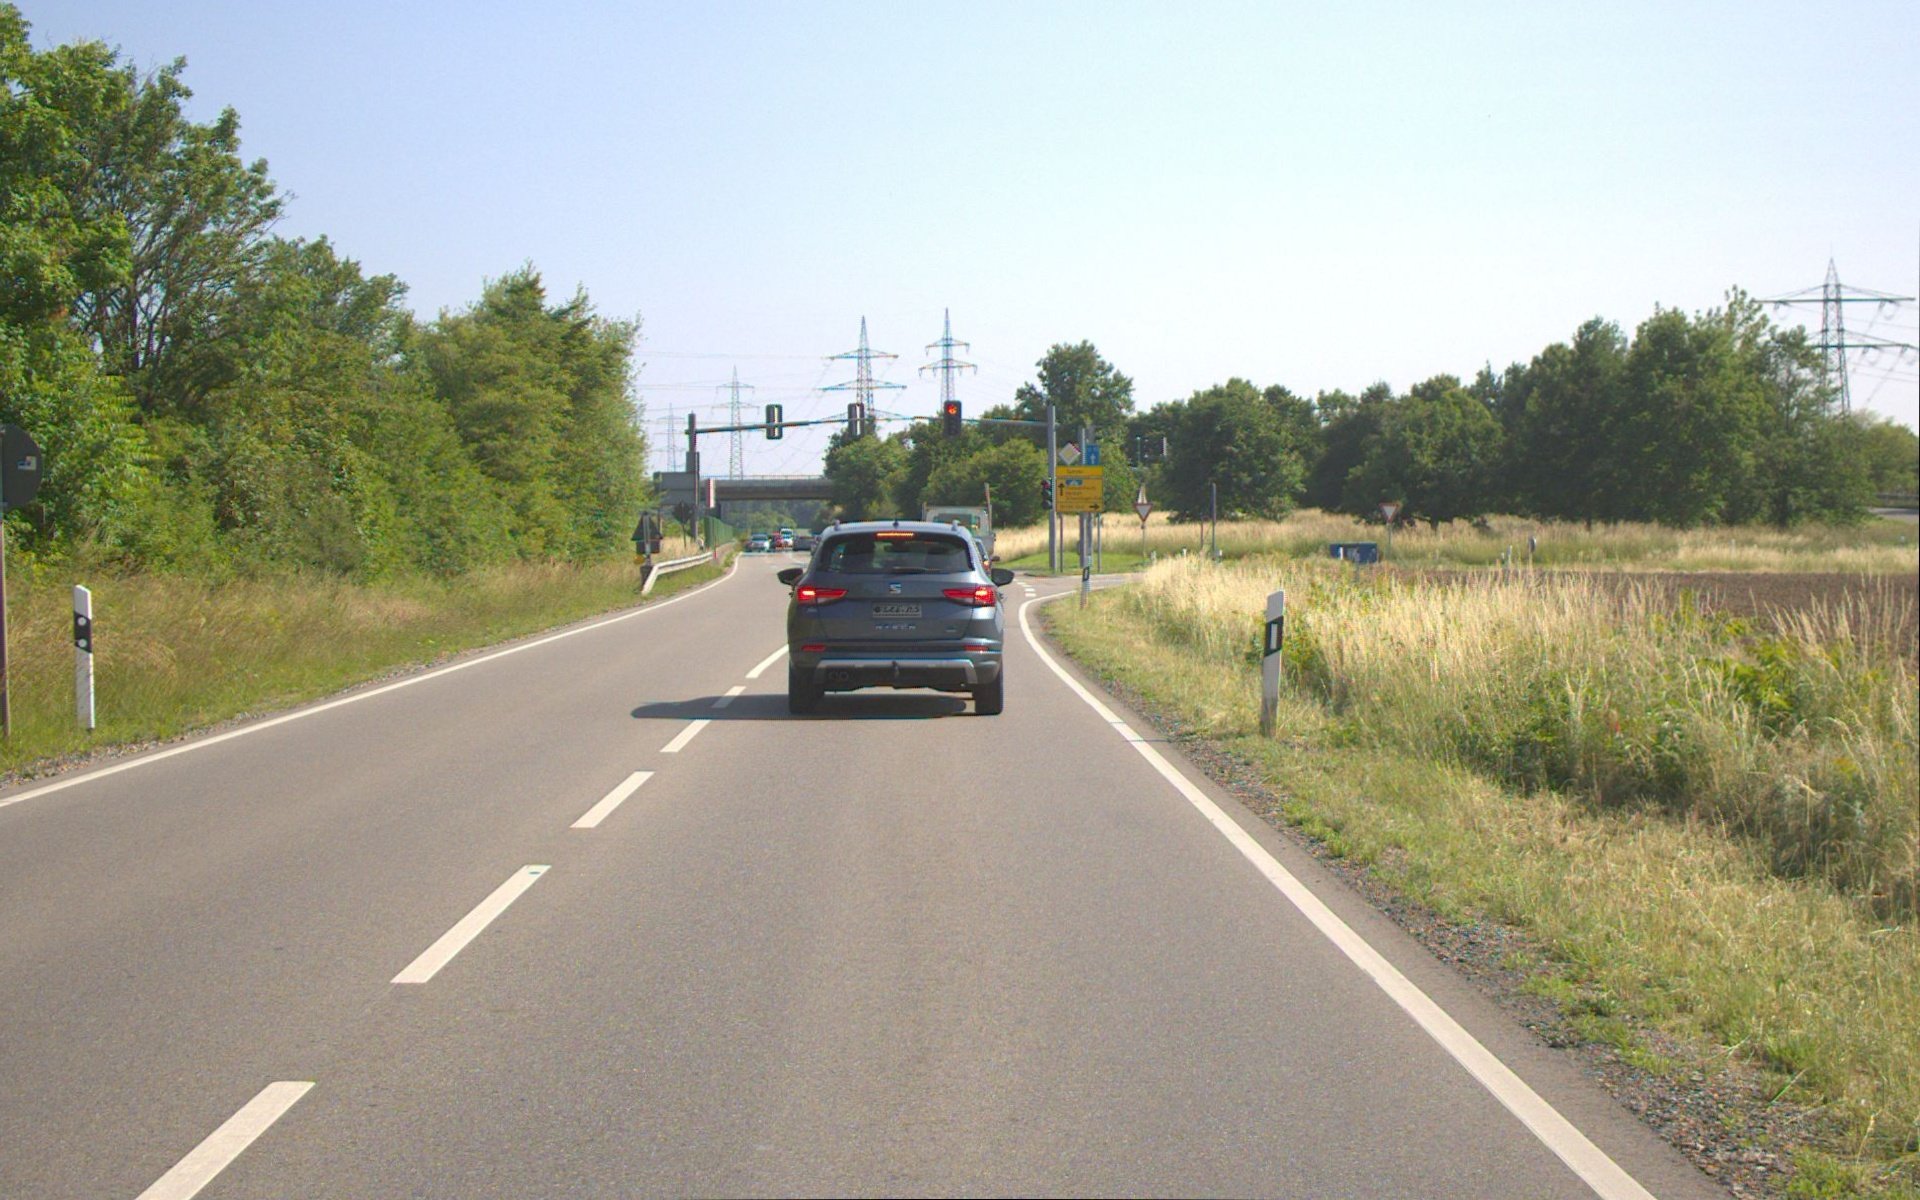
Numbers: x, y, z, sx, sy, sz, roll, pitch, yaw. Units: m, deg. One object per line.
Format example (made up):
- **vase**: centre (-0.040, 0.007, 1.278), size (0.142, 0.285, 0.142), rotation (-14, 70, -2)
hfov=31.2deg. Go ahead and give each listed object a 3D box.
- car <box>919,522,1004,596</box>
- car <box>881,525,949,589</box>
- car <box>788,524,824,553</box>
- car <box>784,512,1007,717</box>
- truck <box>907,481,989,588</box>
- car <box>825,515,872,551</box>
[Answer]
- **car**: centre (0.005, -0.917, 75.234), size (1.785, 1.538, 4.000), rotation (0, 2, -1)
- **car**: centre (-1.217, -1.184, 93.056), size (1.785, 1.670, 4.000), rotation (0, 2, -1)
- **car**: centre (-7.551, -2.999, 168.118), size (1.684, 1.375, 3.534), rotation (0, 2, -4)
- **car**: centre (-0.542, 0.065, 29.549), size (1.785, 1.623, 4.000), rotation (0, 2, -1)
- **truck**: centre (-0.334, -1.933, 102.110), size (2.337, 3.055, 5.810), rotation (0, 1, 0)
- **car**: centre (-4.822, -2.895, 148.197), size (1.816, 1.535, 4.001), rotation (-1, 1, -4)
